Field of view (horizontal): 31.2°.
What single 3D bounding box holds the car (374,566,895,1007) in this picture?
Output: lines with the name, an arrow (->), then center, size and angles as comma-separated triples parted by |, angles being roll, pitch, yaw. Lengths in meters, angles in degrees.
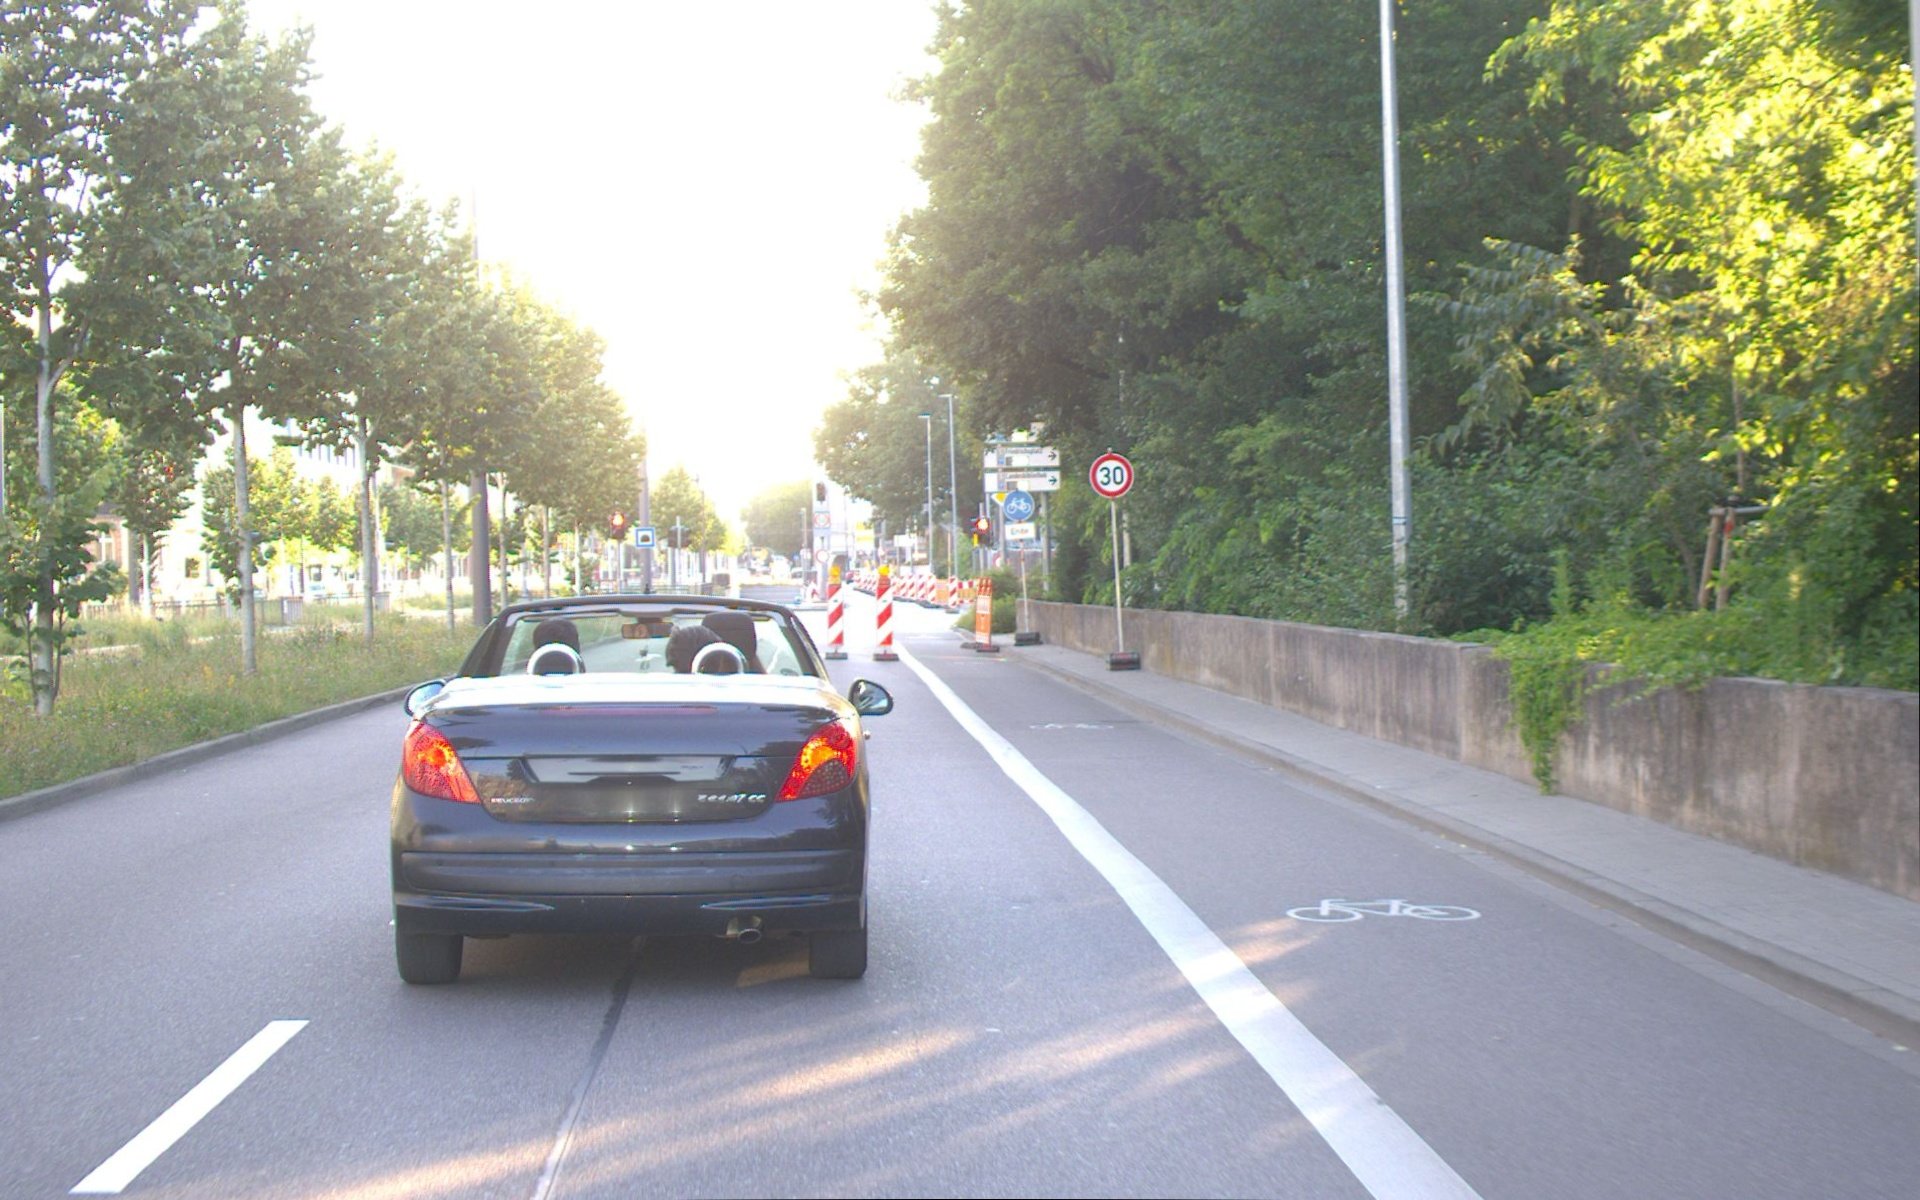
car -> -1.301, 0.601, 13.393 | 1.718, 1.445, 3.902 | -1, 0, -7
